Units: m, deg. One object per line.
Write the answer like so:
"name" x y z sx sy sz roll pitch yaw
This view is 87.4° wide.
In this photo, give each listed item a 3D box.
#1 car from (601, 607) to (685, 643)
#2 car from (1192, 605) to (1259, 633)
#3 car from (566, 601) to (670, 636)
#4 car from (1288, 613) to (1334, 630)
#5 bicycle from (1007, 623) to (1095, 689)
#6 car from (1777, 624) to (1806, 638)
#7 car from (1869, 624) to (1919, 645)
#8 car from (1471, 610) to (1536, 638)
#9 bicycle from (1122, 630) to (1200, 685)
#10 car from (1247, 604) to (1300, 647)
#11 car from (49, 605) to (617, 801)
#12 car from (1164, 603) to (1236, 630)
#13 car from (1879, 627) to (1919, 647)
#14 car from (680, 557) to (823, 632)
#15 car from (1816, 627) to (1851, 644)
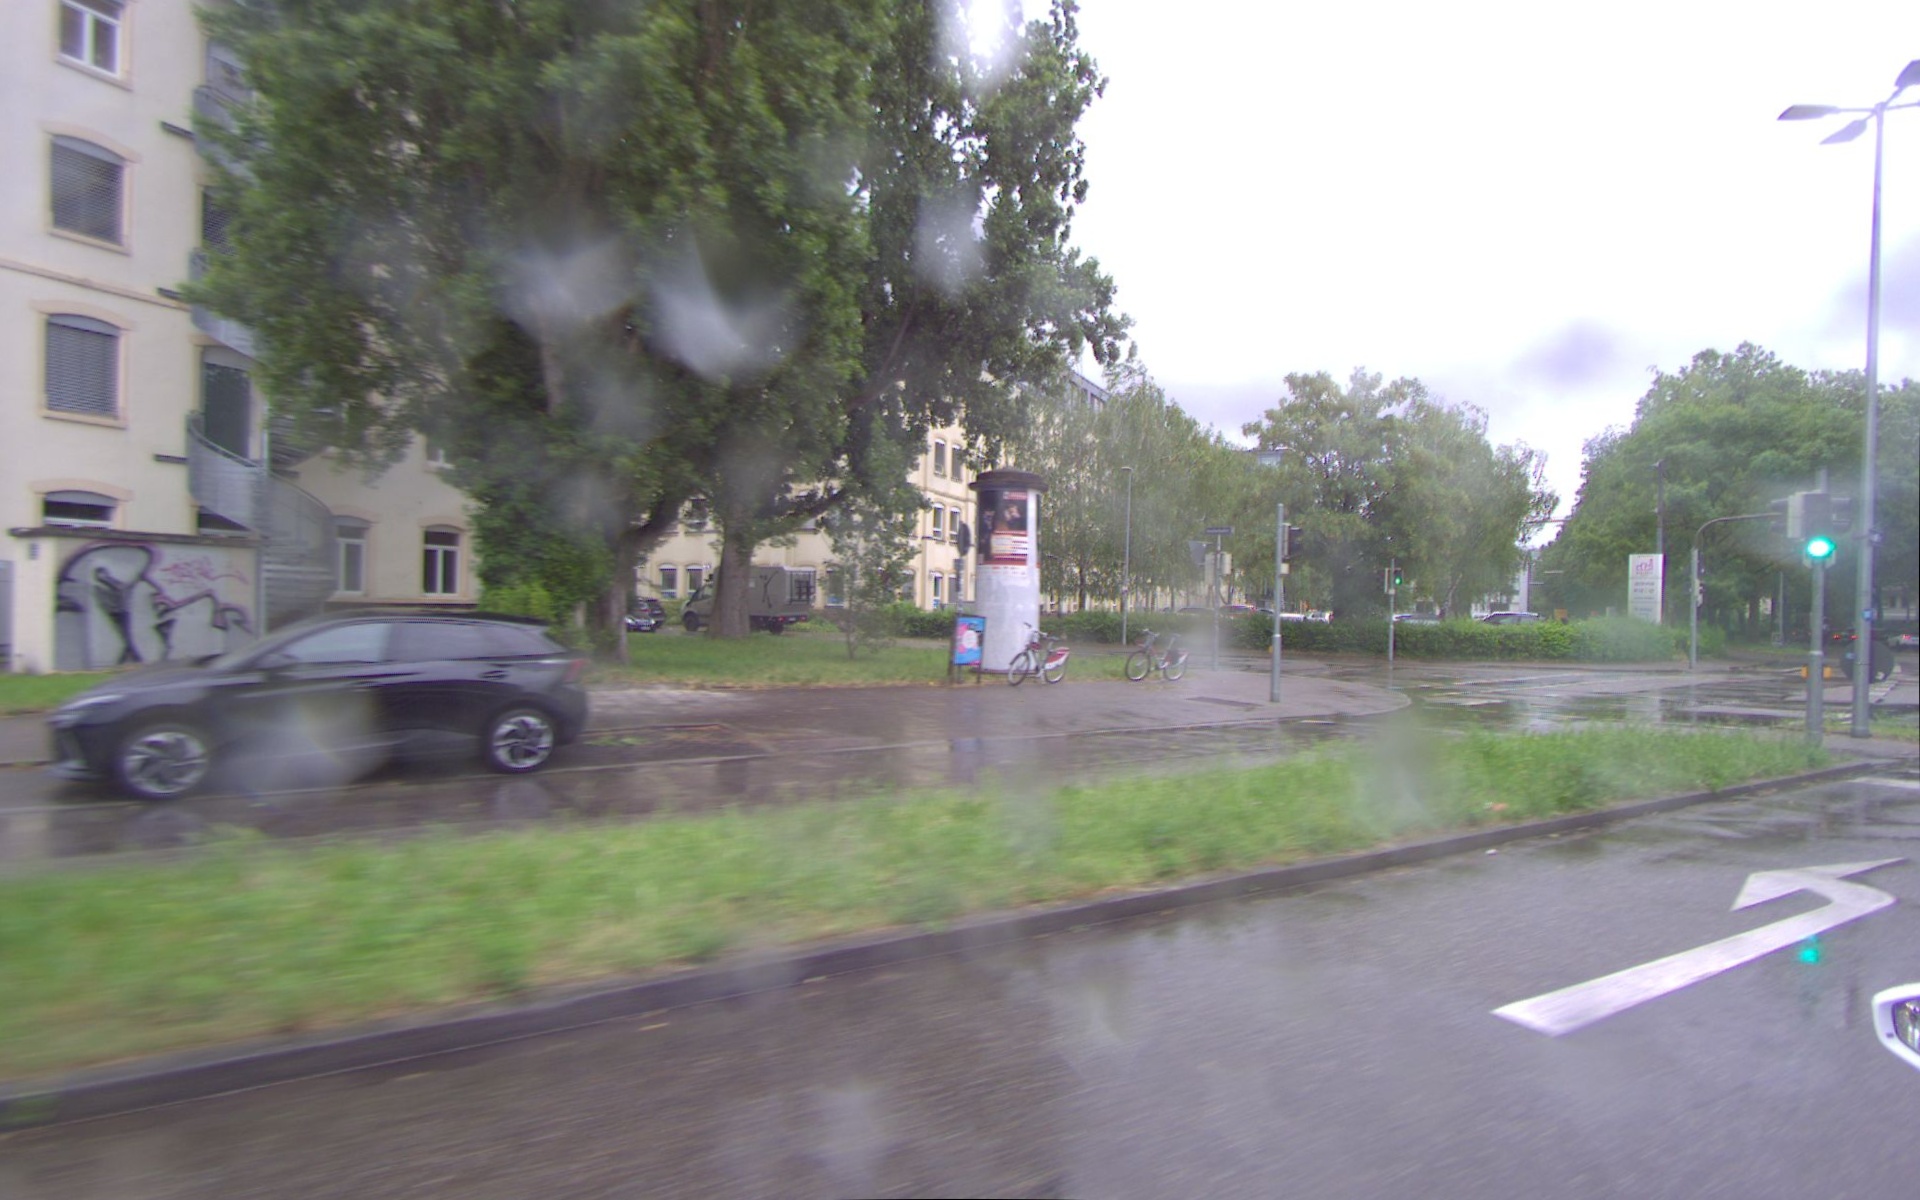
"car" -16.383 1.278 51.870 3.927 1.679 1.891 2 0 28
"car" 17.470 1.230 66.118 3.928 1.708 1.996 1 -1 30
"car" -14.408 0.776 42.258 4.022 1.286 1.904 2 0 29
"car" 33.696 2.075 96.437 3.927 1.580 1.997 1 -1 28
"bicycle" 1.752 1.055 19.221 1.609 1.202 0.692 2 0 -37
"car" 87.383 3.251 105.590 1.681 1.430 3.638 -1 -1 29
"car" 83.054 3.020 88.687 3.790 1.720 1.838 -1 0 2
"car" 38.813 1.686 71.810 3.925 1.857 1.852 2 0 27
"bicycle" 4.249 1.190 21.146 1.779 1.091 0.551 2 0 -37
"car" 13.324 1.041 42.586 1.748 1.708 4.023 1 -1 23
"car" -5.520 0.839 9.355 4.149 1.416 1.535 2 1 -33
"car" 14.752 1.005 61.678 3.927 1.539 1.997 1 -1 28
"car" 69.091 2.690 73.628 1.681 1.430 3.638 -1 -1 29
"car" -9.777 -0.275 47.100 6.101 3.236 2.835 2 0 28
"car" 79.481 3.206 91.461 1.681 1.430 3.638 -1 -1 29
